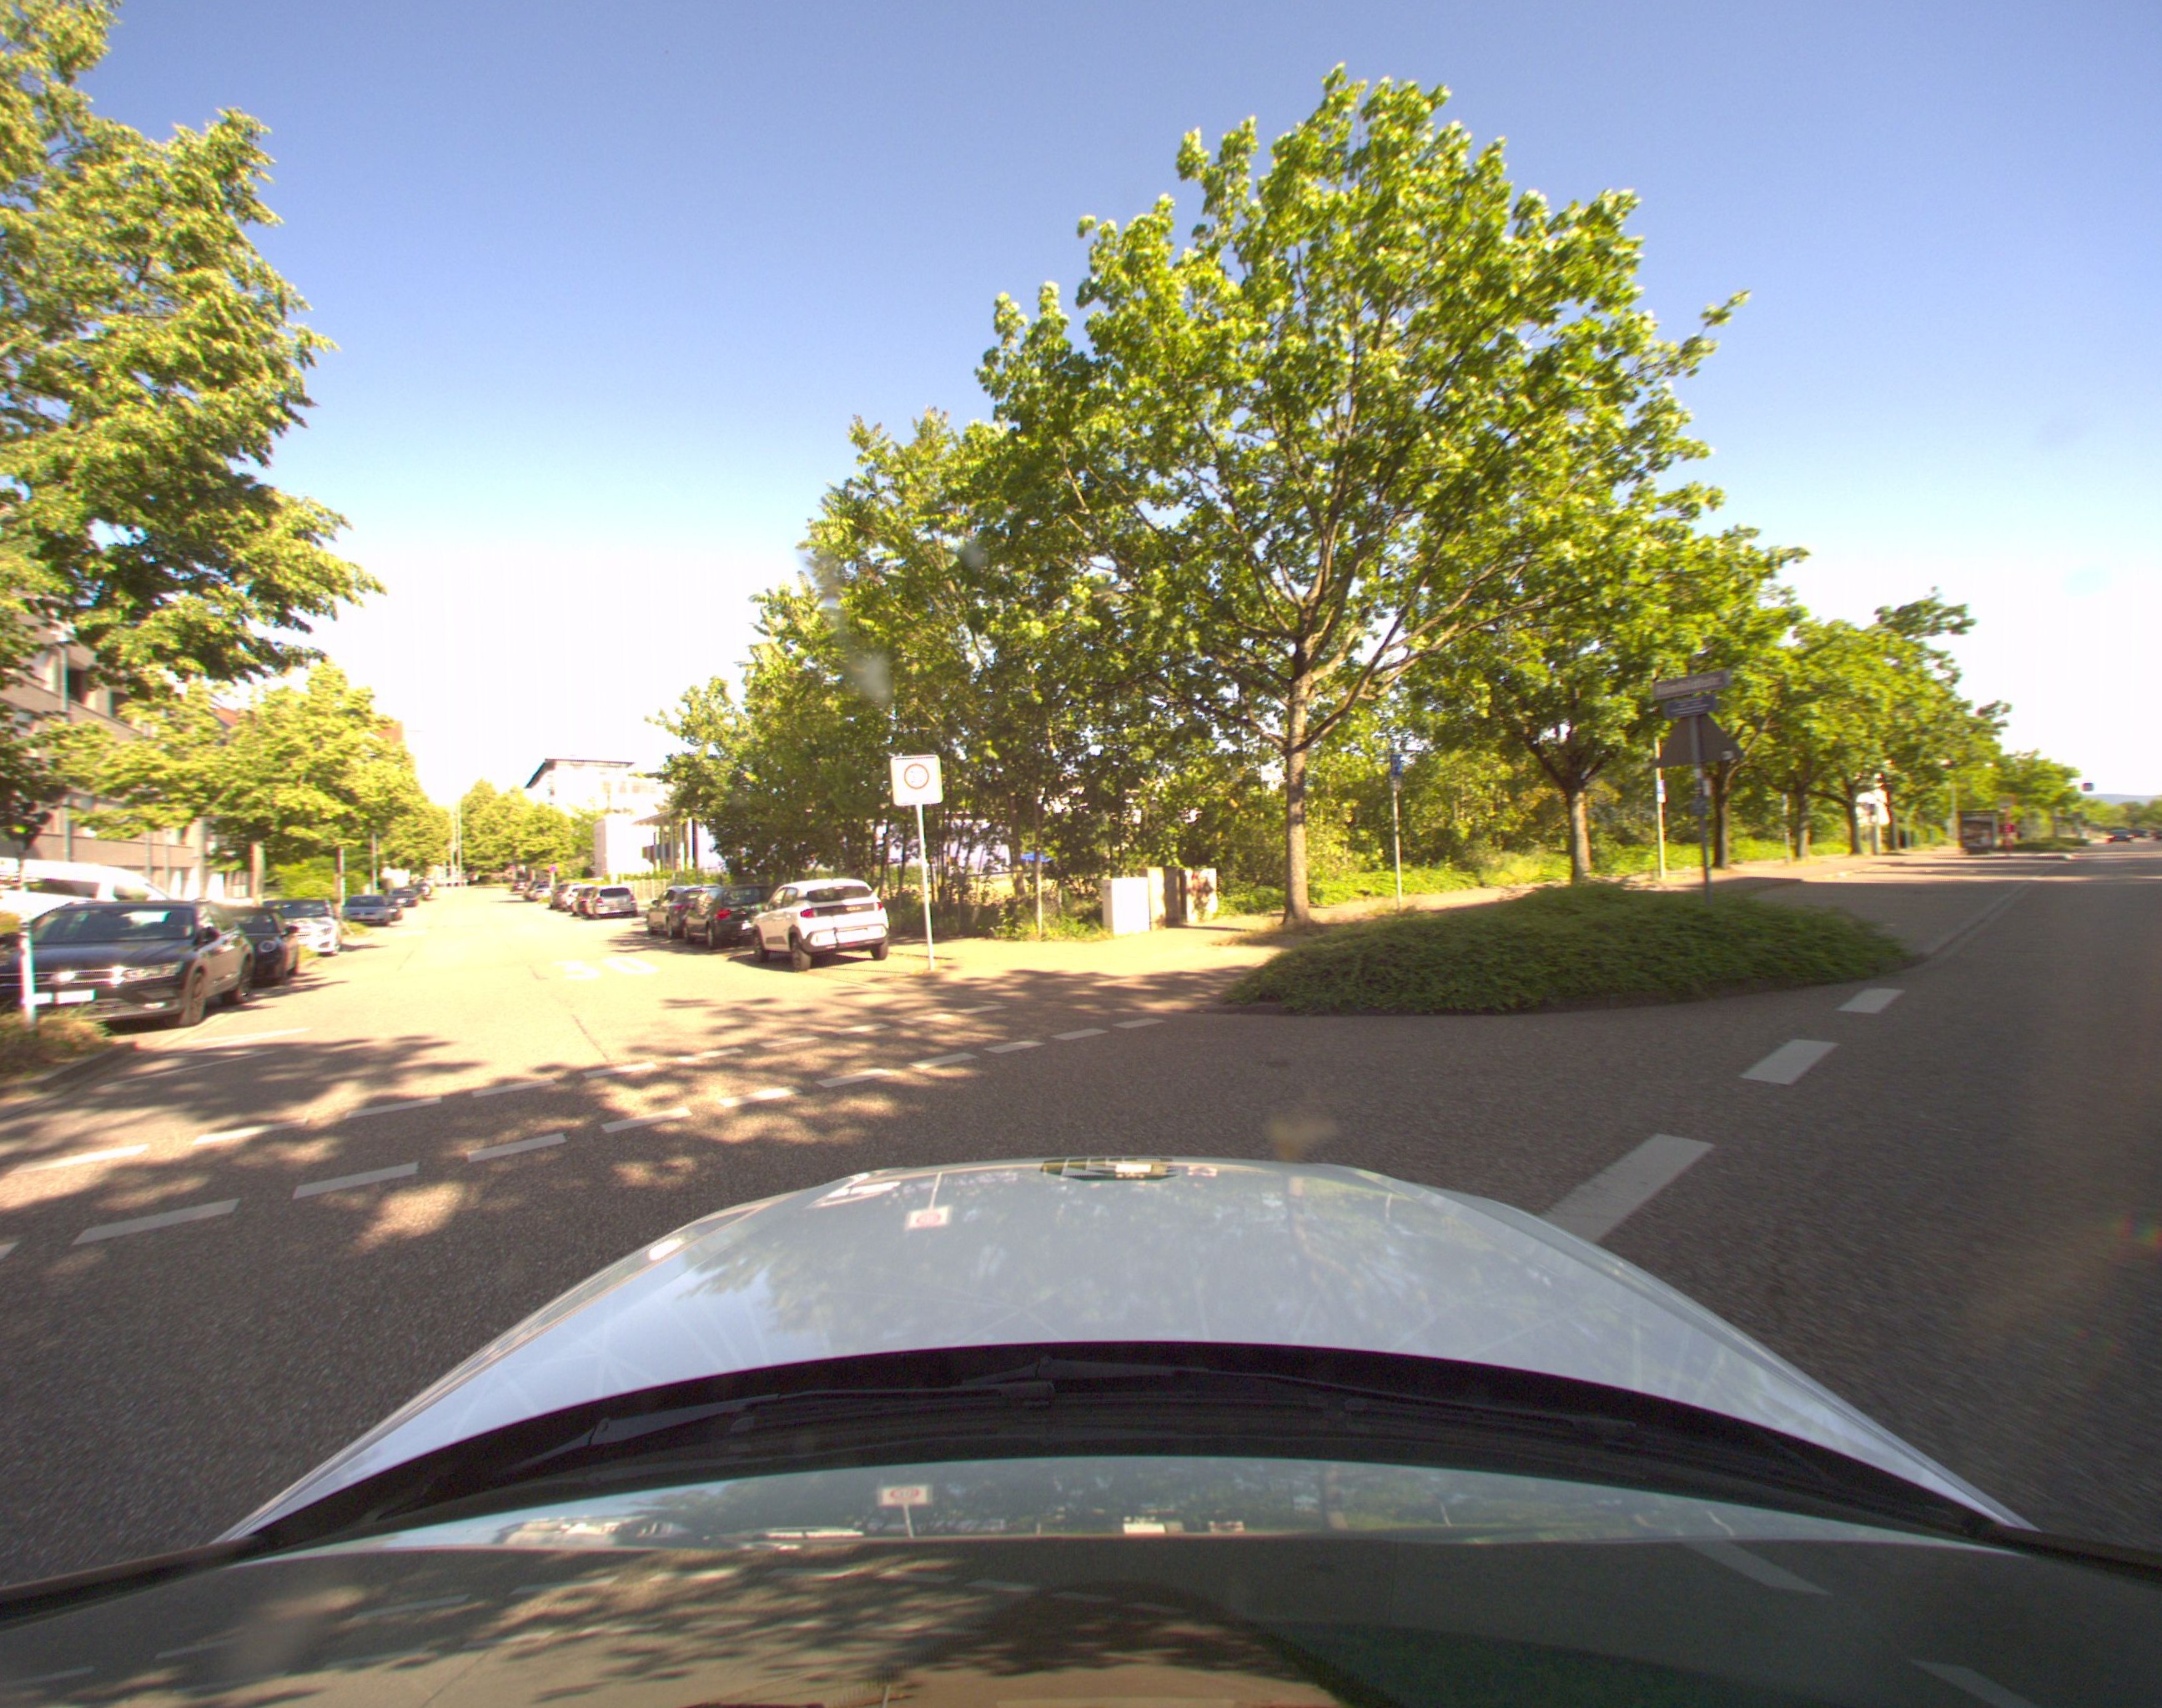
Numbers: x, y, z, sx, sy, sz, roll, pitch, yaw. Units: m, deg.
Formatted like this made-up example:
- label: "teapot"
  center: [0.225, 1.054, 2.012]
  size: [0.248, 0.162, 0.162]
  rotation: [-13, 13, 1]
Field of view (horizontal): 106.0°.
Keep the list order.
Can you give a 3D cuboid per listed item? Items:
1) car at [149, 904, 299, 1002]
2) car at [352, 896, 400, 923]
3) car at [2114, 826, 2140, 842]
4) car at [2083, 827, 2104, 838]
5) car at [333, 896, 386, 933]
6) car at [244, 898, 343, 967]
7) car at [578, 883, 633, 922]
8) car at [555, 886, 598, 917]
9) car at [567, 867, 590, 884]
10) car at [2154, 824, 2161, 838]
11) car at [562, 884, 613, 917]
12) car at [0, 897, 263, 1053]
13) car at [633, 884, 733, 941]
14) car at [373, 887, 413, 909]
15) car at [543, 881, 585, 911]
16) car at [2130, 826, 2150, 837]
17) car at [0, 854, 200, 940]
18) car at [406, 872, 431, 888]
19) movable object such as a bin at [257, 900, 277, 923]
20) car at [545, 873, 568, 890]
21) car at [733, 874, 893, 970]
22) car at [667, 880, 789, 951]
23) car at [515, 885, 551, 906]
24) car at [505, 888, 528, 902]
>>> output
- label: "car"
  center: [-16.257, 1.781, 15.619]
  size: [1.592, 1.504, 3.745]
  rotation: [-2, -1, -41]
- label: "car"
  center: [-36.567, 2.871, 42.311]
  size: [1.611, 1.217, 3.832]
  rotation: [1, -2, -37]
- label: "car"
  center: [118.101, -2.252, 91.943]
  size: [3.757, 1.775, 1.814]
  rotation: [-1, 0, -38]
- label: "car"
  center: [164.448, -3.515, 132.277]
  size: [4.019, 1.802, 1.977]
  rotation: [-1, 0, -38]
- label: "car"
  center: [-33.468, 2.757, 37.873]
  size: [1.624, 1.465, 3.829]
  rotation: [-2, 0, -39]
- label: "car"
  center: [-21.318, 2.034, 22.175]
  size: [1.673, 1.532, 4.236]
  rotation: [-2, 0, -41]
- label: "car"
  center: [-21.595, 2.150, 36.923]
  size: [1.676, 1.513, 3.955]
  rotation: [-1, 0, -37]
- label: "car"
  center: [-29.129, 2.684, 46.946]
  size: [1.693, 1.542, 3.805]
  rotation: [-1, 0, -38]
- label: "car"
  center: [-63.882, 2.720, 103.461]
  size: [2.010, 2.013, 3.955]
  rotation: [-2, 0, -37]
- label: "car"
  center: [153.907, -3.324, 115.489]
  size: [4.019, 2.013, 1.977]
  rotation: [-1, 0, -38]
- label: "car"
  center: [-24.723, 2.310, 40.742]
  size: [1.701, 1.494, 4.031]
  rotation: [-1, -1, -38]
- label: "car"
  center: [-12.687, 1.439, 10.808]
  size: [1.901, 1.619, 4.290]
  rotation: [-1, -2, -36]
- label: "car"
  center: [-11.755, 1.647, 23.913]
  size: [1.690, 1.438, 4.388]
  rotation: [-1, -1, -39]
- label: "car"
  center: [-51.065, 3.248, 60.497]
  size: [1.774, 1.528, 3.957]
  rotation: [1, -2, -34]
- label: "car"
  center: [-32.299, 2.586, 50.843]
  size: [1.740, 1.652, 4.276]
  rotation: [-4, 1, -38]
- label: "car"
  center: [190.090, -4.036, 146.172]
  size: [4.018, 2.013, 1.978]
  rotation: [-1, 0, -36]
- label: "car"
  center: [-32.069, 1.344, 25.622]
  size: [5.489, 2.384, 1.899]
  rotation: [9, -8, -41]
- label: "car"
  center: [-67.763, 2.676, 83.303]
  size: [1.792, 1.530, 3.955]
  rotation: [-2, 0, -37]
- label: "movable object such as a bin"
  center: [-41.297, 2.926, 41.326]
  size: [0.612, 1.090, 0.629]
  rotation: [-1, 0, -39]
- label: "car"
  center: [-65.684, 3.415, 101.977]
  size: [2.040, 2.014, 3.954]
  rotation: [-2, -1, -37]
- label: "car"
  center: [-5.072, 1.196, 15.065]
  size: [1.632, 1.451, 4.045]
  rotation: [-1, -2, -36]
- label: "car"
  center: [-8.778, 1.446, 20.059]
  size: [1.839, 1.472, 4.022]
  rotation: [-1, -1, -37]
- label: "car"
  center: [-43.821, 3.303, 65.050]
  size: [1.845, 1.422, 4.183]
  rotation: [-5, 1, -41]
- label: "car"
  center: [-65.232, 4.692, 94.127]
  size: [2.010, 1.486, 3.954]
  rotation: [-2, -1, -37]
